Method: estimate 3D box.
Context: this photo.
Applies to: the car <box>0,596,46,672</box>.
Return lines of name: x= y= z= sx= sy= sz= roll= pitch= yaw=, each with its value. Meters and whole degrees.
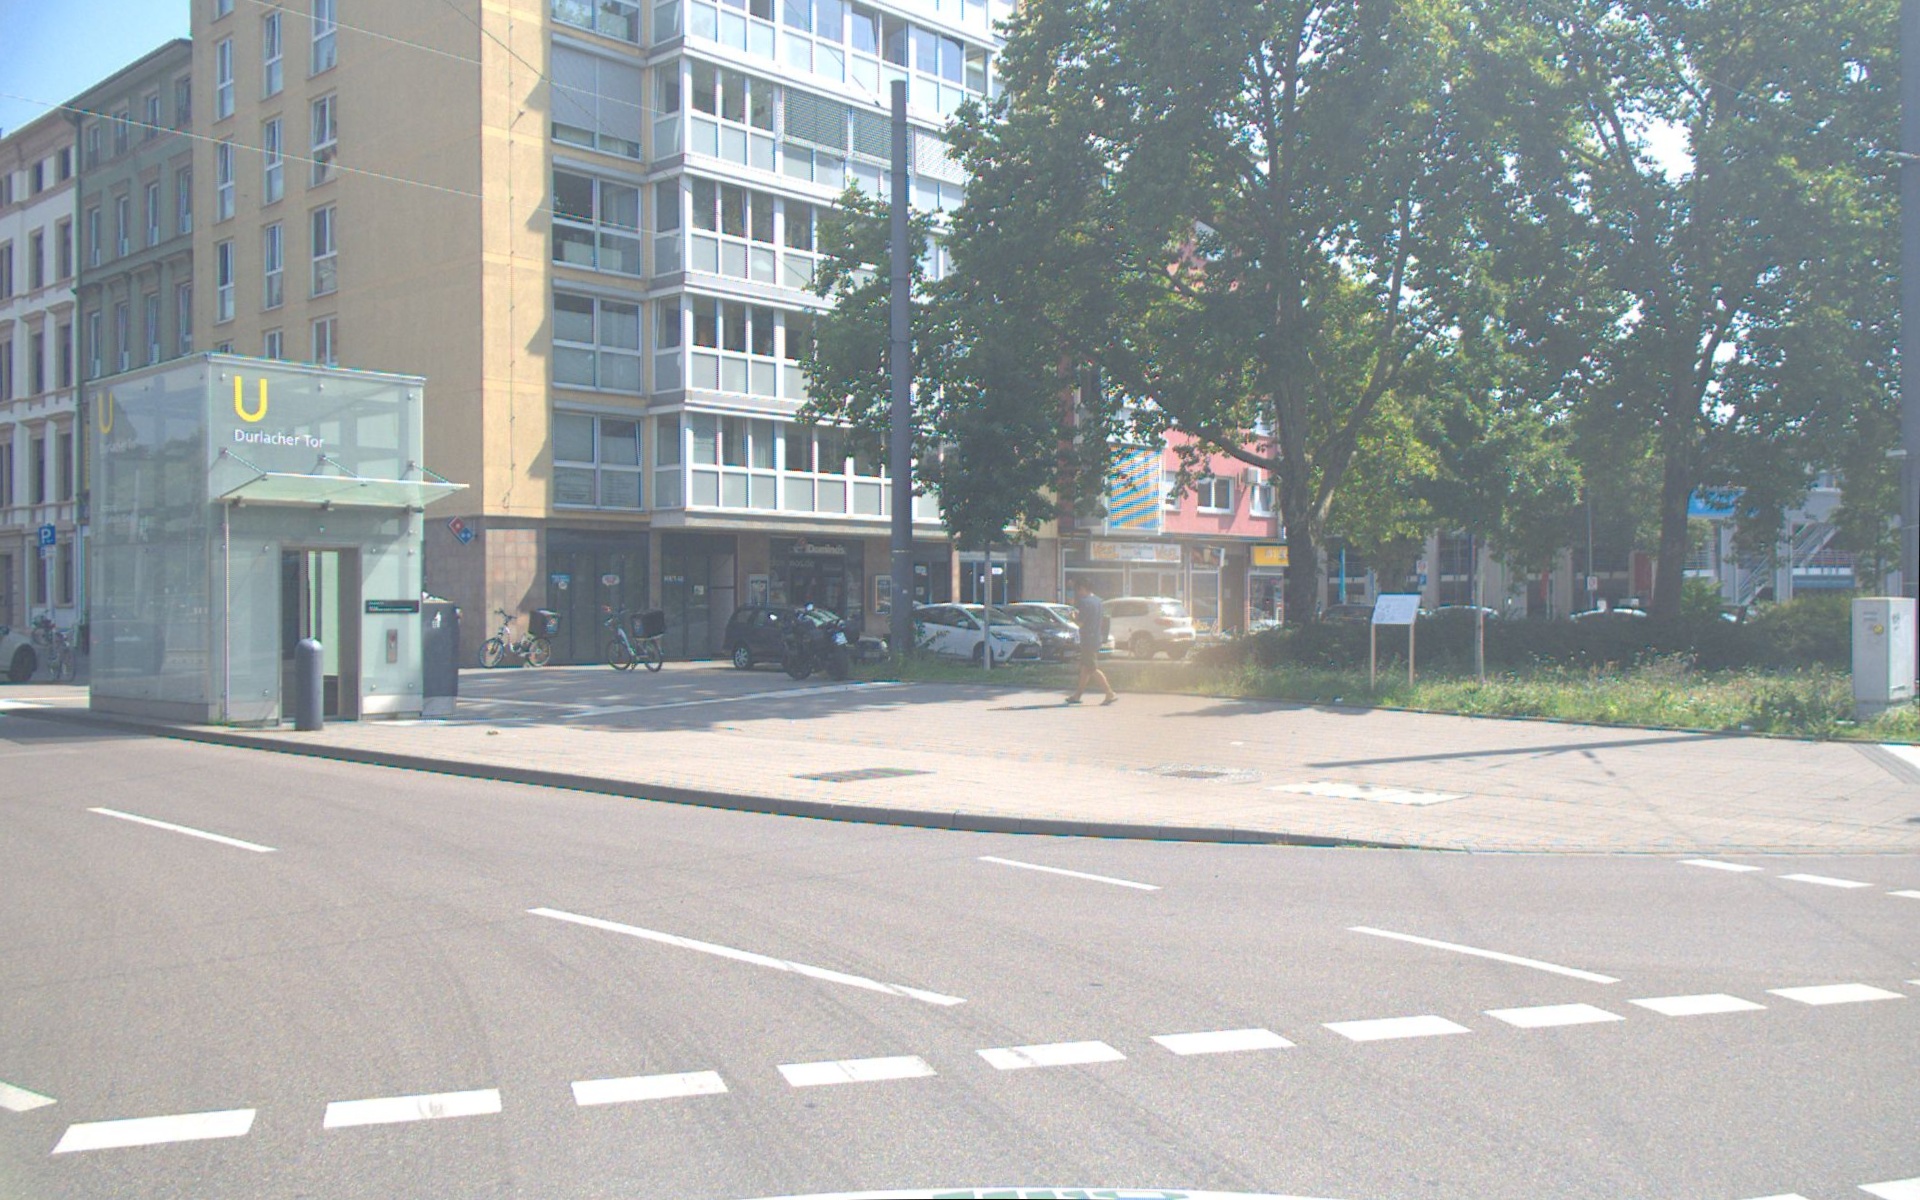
car: x=-20.235 y=0.653 z=32.762 sx=1.763 sy=1.526 sz=3.788 roll=2 pitch=-1 yaw=7

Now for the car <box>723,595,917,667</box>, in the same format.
car: x=-3.127 y=0.643 z=36.546 sx=4.168 sy=1.496 sz=1.896 roll=0 pitch=0 yaw=40

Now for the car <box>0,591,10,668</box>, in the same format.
car: x=-22.395 y=0.678 z=35.036 sx=1.939 sy=1.717 sz=4.393 roll=0 pitch=0 yaw=1

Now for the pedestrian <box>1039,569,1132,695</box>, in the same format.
pedestrian: x=1.673 y=0.415 z=22.072 sx=0.932 sy=1.637 sz=0.789 roll=-1 pitch=0 yaw=40

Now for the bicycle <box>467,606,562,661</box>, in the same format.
bicycle: x=-9.802 y=0.716 z=36.409 sx=1.945 sy=1.163 sz=0.590 roll=0 pitch=0 yaw=-33

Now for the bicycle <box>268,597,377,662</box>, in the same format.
bicycle: x=-14.778 y=0.664 z=38.473 sx=0.882 sy=1.429 sz=3.366 roll=0 pitch=0 yaw=7

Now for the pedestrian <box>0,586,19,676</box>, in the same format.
pedestrian: x=-18.924 y=0.589 z=31.848 sx=0.882 sy=1.734 sz=1.038 roll=0 pitch=-1 yaw=16

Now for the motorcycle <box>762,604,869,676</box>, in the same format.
motorcycle: x=-2.451 y=0.646 z=27.830 sx=0.902 sy=1.156 sz=2.086 roll=0 pitch=0 yaw=-35

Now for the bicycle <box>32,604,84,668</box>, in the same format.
bicycle: x=-18.927 y=0.758 z=34.676 sx=0.471 sy=1.319 sz=1.762 roll=-1 pitch=-1 yaw=-45

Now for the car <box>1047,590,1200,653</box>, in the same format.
car: x=4.546 y=0.576 z=46.353 sx=3.998 sy=1.695 sz=1.781 roll=0 pitch=0 yaw=40

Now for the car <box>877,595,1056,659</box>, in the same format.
car: x=0.128 y=0.625 z=40.516 sx=4.168 sy=1.496 sz=1.896 roll=0 pitch=0 yaw=40

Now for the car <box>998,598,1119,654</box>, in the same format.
car: x=2.645 y=0.682 z=44.652 sx=3.041 sy=1.454 sz=1.396 roll=0 pitch=0 yaw=40

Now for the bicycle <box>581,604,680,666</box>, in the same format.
bicycle: x=-6.894 y=0.715 z=34.548 sx=2.392 sy=1.260 sz=0.789 roll=0 pitch=0 yaw=43
